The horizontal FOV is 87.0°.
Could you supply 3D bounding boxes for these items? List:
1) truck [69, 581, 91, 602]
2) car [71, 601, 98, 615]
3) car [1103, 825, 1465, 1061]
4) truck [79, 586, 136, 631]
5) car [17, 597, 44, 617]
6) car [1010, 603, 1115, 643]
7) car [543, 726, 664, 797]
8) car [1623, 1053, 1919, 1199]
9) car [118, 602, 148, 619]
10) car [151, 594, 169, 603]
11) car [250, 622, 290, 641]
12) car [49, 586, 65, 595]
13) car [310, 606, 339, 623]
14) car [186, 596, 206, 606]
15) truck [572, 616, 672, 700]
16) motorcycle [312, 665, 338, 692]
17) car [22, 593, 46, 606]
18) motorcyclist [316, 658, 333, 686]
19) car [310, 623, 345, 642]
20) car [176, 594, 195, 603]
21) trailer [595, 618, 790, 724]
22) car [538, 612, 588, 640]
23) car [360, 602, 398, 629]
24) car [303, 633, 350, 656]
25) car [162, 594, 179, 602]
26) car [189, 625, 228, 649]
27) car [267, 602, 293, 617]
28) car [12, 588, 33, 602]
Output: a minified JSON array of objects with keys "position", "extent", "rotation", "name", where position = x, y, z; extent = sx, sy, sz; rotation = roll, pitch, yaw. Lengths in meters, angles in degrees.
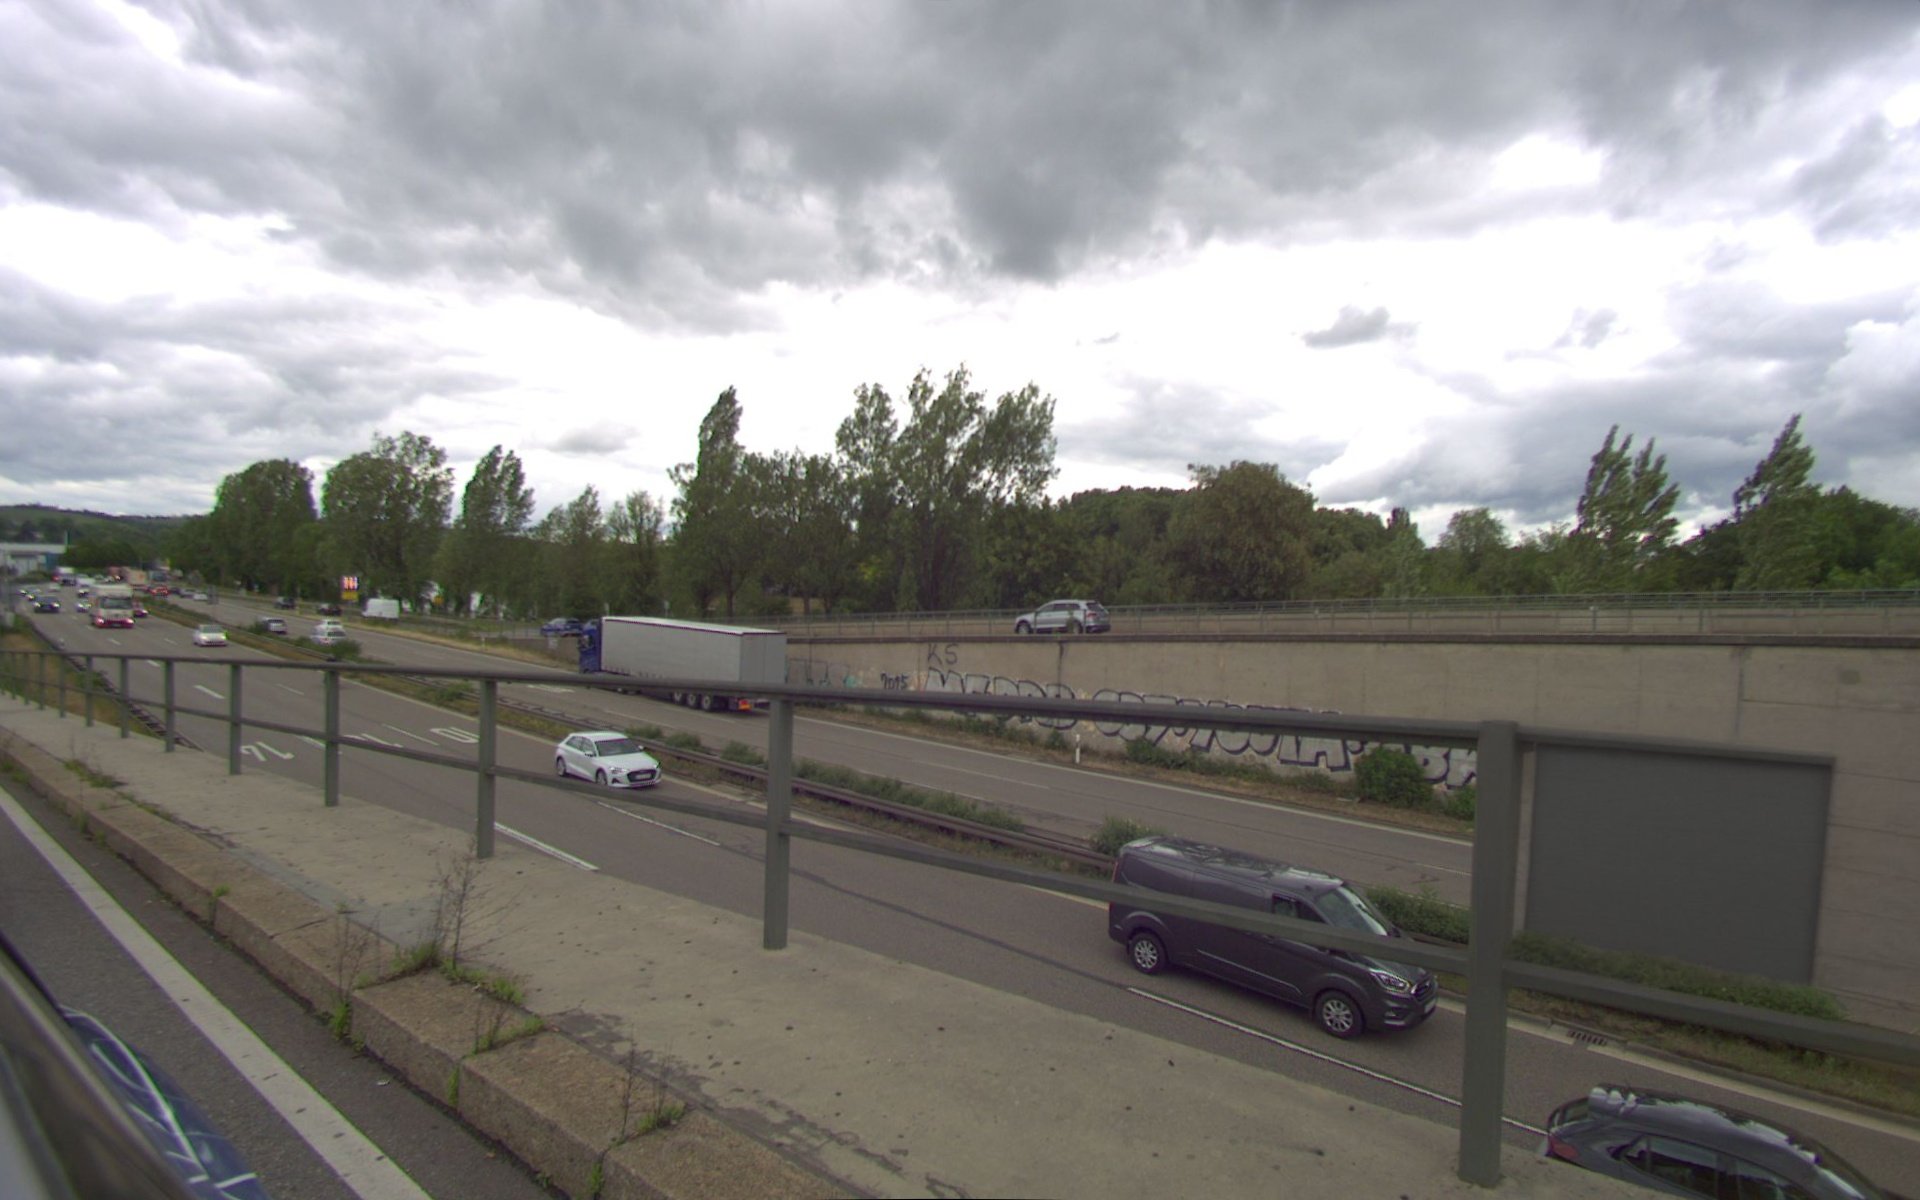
[{"position":[-135.189,-1.340,155.404],"extent":[2.207,3.031,7.239],"rotation":[1,1,-43],"name":"truck"},{"position":[-95.719,0.899,110.657],"extent":[4.153,1.311,1.766],"rotation":[2,0,42],"name":"car"},{"position":[5.095,5.309,16.507],"extent":[5.254,2.029,1.972],"rotation":[2,1,42],"name":"car"},{"position":[-75.591,0.718,89.653],"extent":[9.877,3.552,2.849],"rotation":[2,-1,45],"name":"truck"},{"position":[-96.275,0.715,104.865],"extent":[1.970,1.853,4.430],"rotation":[2,0,-43],"name":"car"},{"position":[4.532,1.035,45.278],"extent":[4.375,1.664,1.874],"rotation":[-1,0,41],"name":"car"},{"position":[-11.074,4.925,31.280],"extent":[4.415,1.432,1.600],"rotation":[2,0,42],"name":"car"},{"position":[8.382,5.713,9.132],"extent":[3.833,1.484,1.635],"rotation":[2,1,41],"name":"car"},{"position":[-85.115,1.075,104.104],"extent":[4.183,1.590,1.810],"rotation":[3,2,43],"name":"car"},{"position":[-135.745,-0.262,171.694],"extent":[4.002,1.431,1.971],"rotation":[2,1,44],"name":"car"},{"position":[-59.336,2.690,87.014],"extent":[4.002,1.431,1.971],"rotation":[2,-3,45],"name":"car"},{"position":[-163.535,-1.677,183.252],"extent":[3.335,1.539,1.746],"rotation":[2,0,41],"name":"car"},{"position":[-78.441,1.778,124.878],"extent":[4.562,1.831,1.861],"rotation":[2,-3,42],"name":"car"},{"position":[-119.005,0.171,157.676],"extent":[4.002,1.431,1.971],"rotation":[2,1,44],"name":"car"},{"position":[-18.905,3.091,56.411],"extent":[5.937,4.170,2.756],"rotation":[3,1,43],"name":"truck"},{"position":[-32.531,3.998,51.823],"extent":[2.126,1.212,0.587],"rotation":[2,1,43],"name":"motorcycle"},{"position":[-122.215,-0.071,133.554],"extent":[4.126,1.461,1.804],"rotation":[2,0,41],"name":"car"},{"position":[-32.556,3.678,51.844],"extent":[0.762,1.382,0.587],"rotation":[2,1,42],"name":"motorcyclist"},{"position":[-54.370,2.769,86.972],"extent":[4.002,1.431,1.660],"rotation":[3,0,44],"name":"car"},{"position":[-130.601,-0.196,170.617],"extent":[4.002,1.431,1.971],"rotation":[2,1,44],"name":"car"},{"position":[-14.068,3.326,51.810],"extent":[13.767,4.170,2.756],"rotation":[3,1,44],"name":"trailer"},{"position":[-31.636,2.077,80.645],"extent":[1.970,1.914,4.587],"rotation":[6,-3,-44],"name":"car"},{"position":[-63.747,1.649,111.016],"extent":[5.180,2.669,1.972],"rotation":[2,-3,42],"name":"car"},{"position":[-46.640,3.249,74.502],"extent":[4.002,1.431,1.971],"rotation":[2,-3,45],"name":"car"},{"position":[-146.618,-0.336,187.993],"extent":[4.002,1.431,1.971],"rotation":[2,1,44],"name":"car"},{"position":[-54.802,2.697,73.778],"extent":[3.608,1.544,1.674],"rotation":[2,1,43],"name":"car"},{"position":[-92.855,1.257,138.232],"extent":[4.562,1.831,1.861],"rotation":[2,-3,42],"name":"car"},{"position":[-139.184,-0.760,150.180],"extent":[4.001,2.029,1.971],"rotation":[2,-1,43],"name":"car"}]
